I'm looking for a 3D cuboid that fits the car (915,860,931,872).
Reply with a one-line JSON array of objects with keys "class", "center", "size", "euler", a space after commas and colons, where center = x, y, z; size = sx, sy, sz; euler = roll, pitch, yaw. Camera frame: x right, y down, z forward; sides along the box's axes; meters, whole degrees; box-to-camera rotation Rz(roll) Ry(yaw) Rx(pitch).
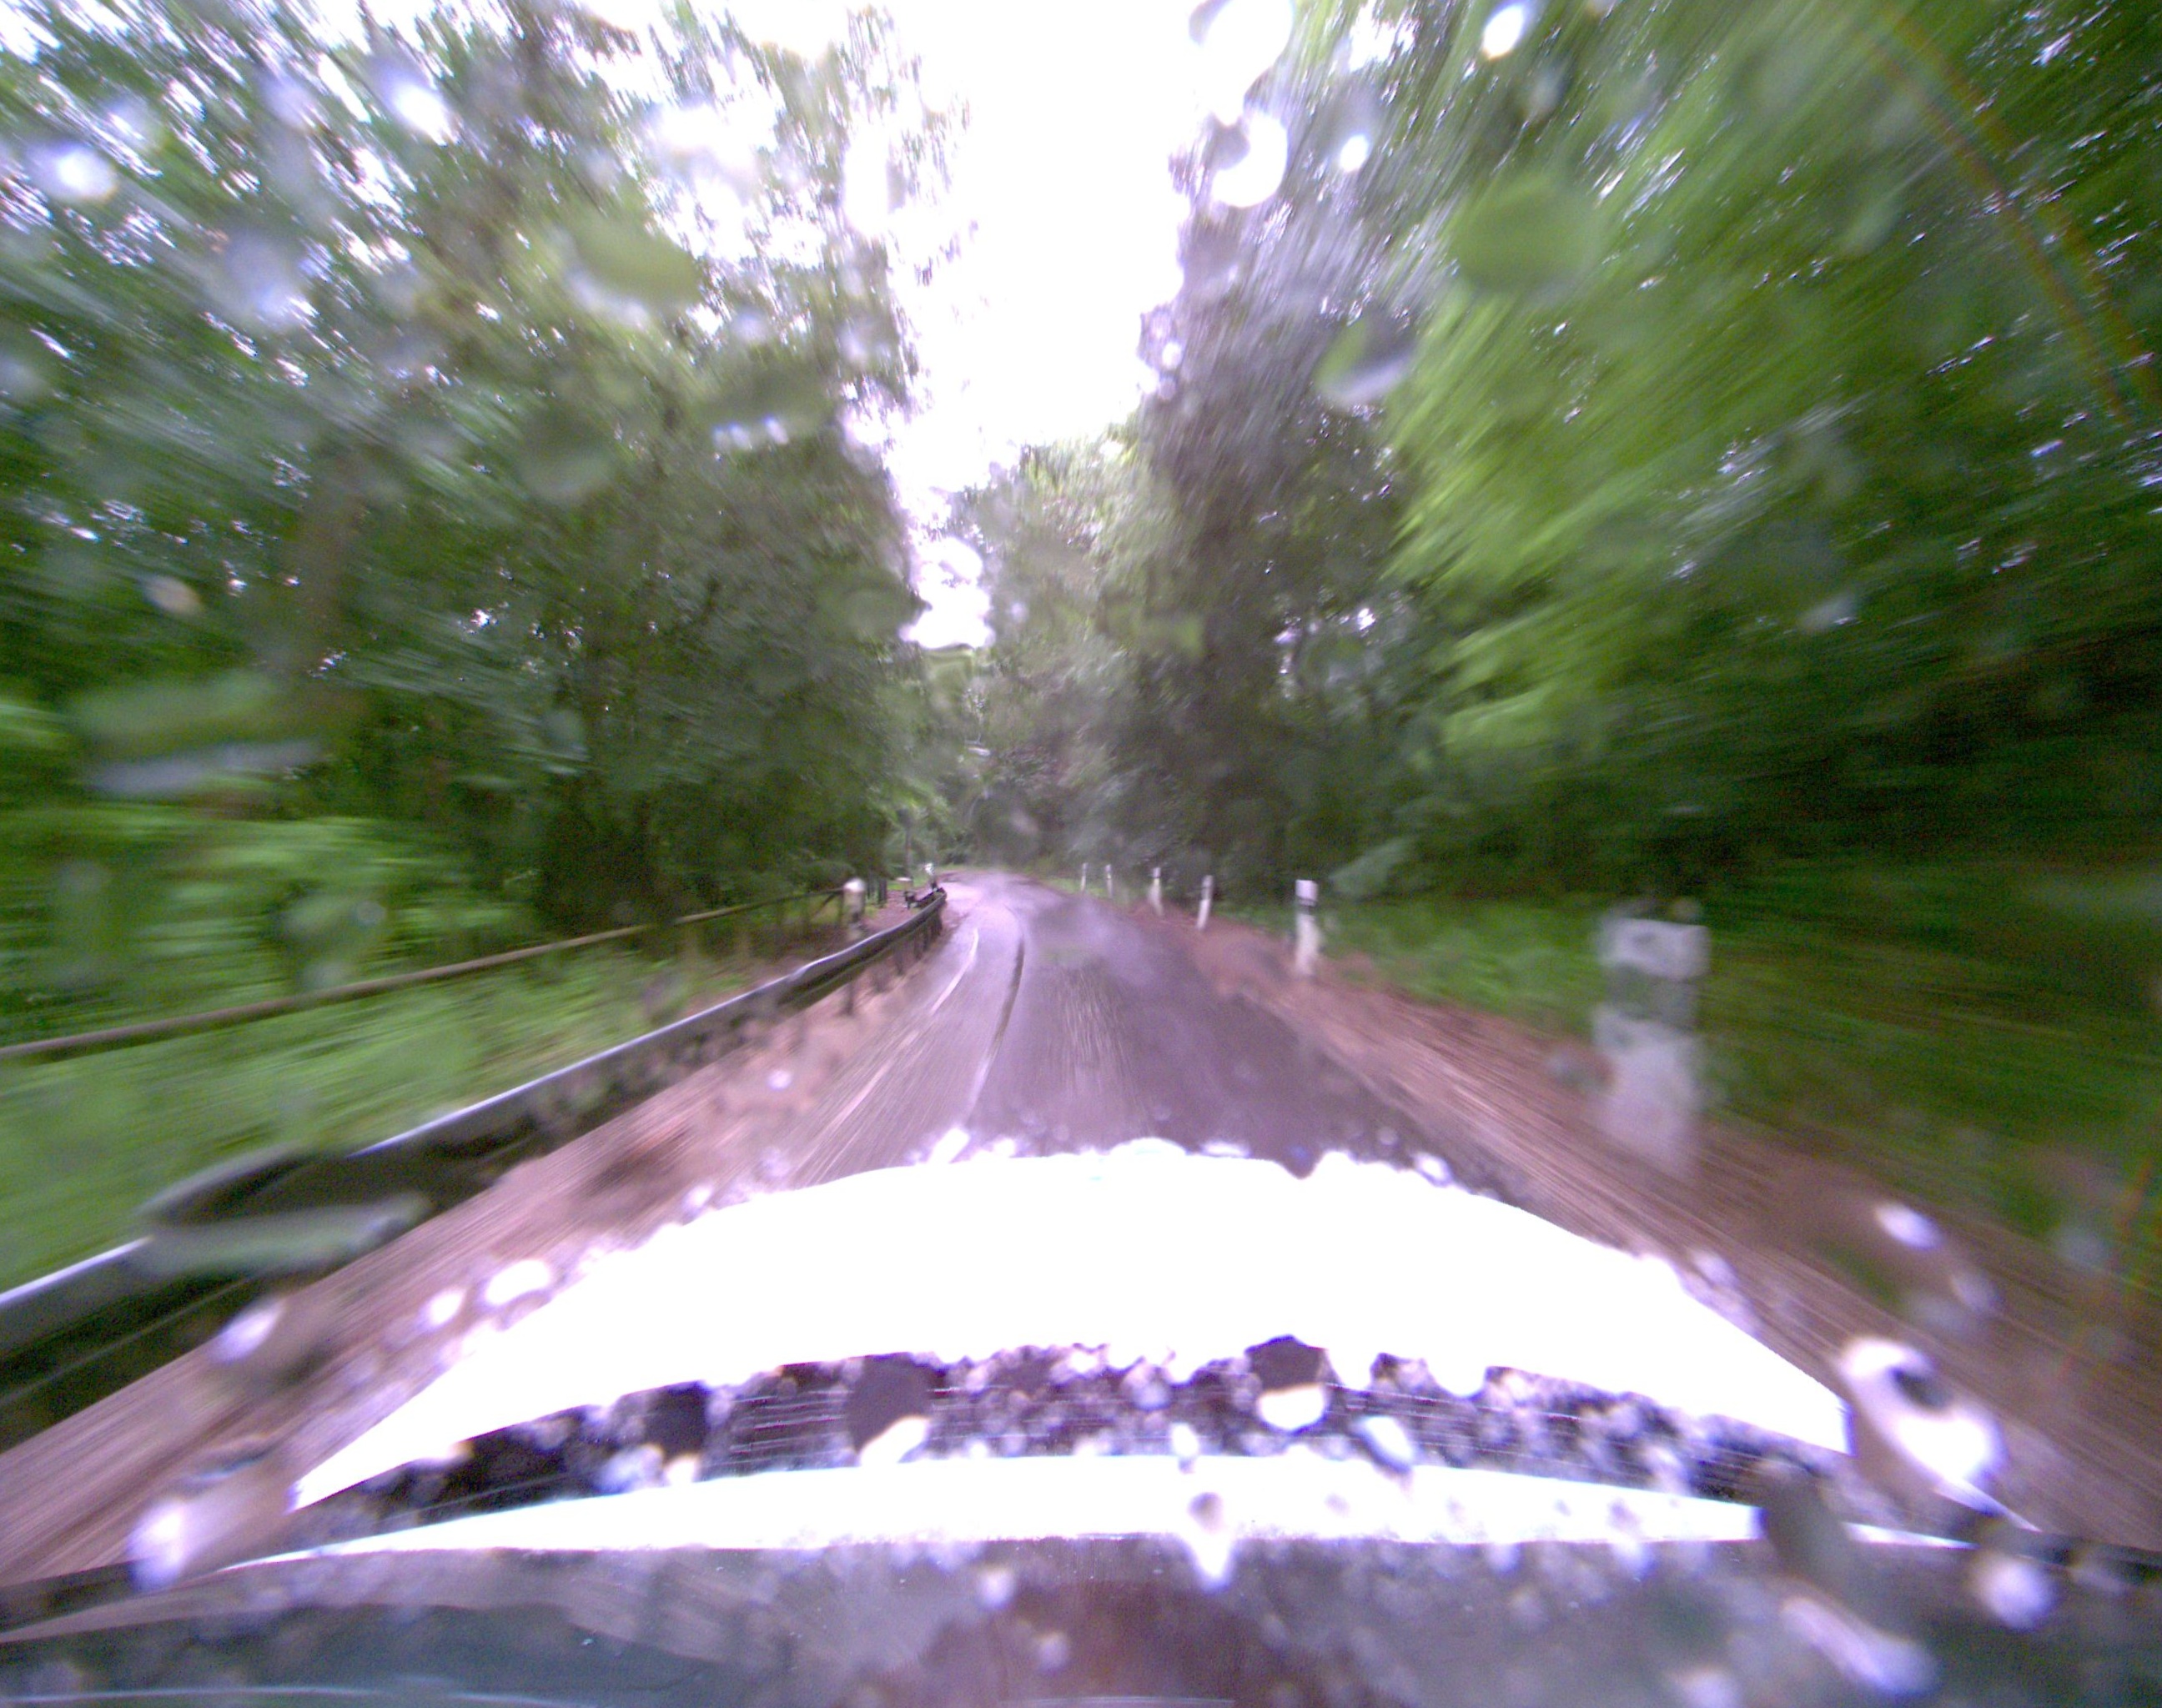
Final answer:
[{"class": "car", "center": [-20.877, 1.616, 107.465], "size": [1.717, 1.475, 3.871], "euler": [-1, 0, -15]}]
